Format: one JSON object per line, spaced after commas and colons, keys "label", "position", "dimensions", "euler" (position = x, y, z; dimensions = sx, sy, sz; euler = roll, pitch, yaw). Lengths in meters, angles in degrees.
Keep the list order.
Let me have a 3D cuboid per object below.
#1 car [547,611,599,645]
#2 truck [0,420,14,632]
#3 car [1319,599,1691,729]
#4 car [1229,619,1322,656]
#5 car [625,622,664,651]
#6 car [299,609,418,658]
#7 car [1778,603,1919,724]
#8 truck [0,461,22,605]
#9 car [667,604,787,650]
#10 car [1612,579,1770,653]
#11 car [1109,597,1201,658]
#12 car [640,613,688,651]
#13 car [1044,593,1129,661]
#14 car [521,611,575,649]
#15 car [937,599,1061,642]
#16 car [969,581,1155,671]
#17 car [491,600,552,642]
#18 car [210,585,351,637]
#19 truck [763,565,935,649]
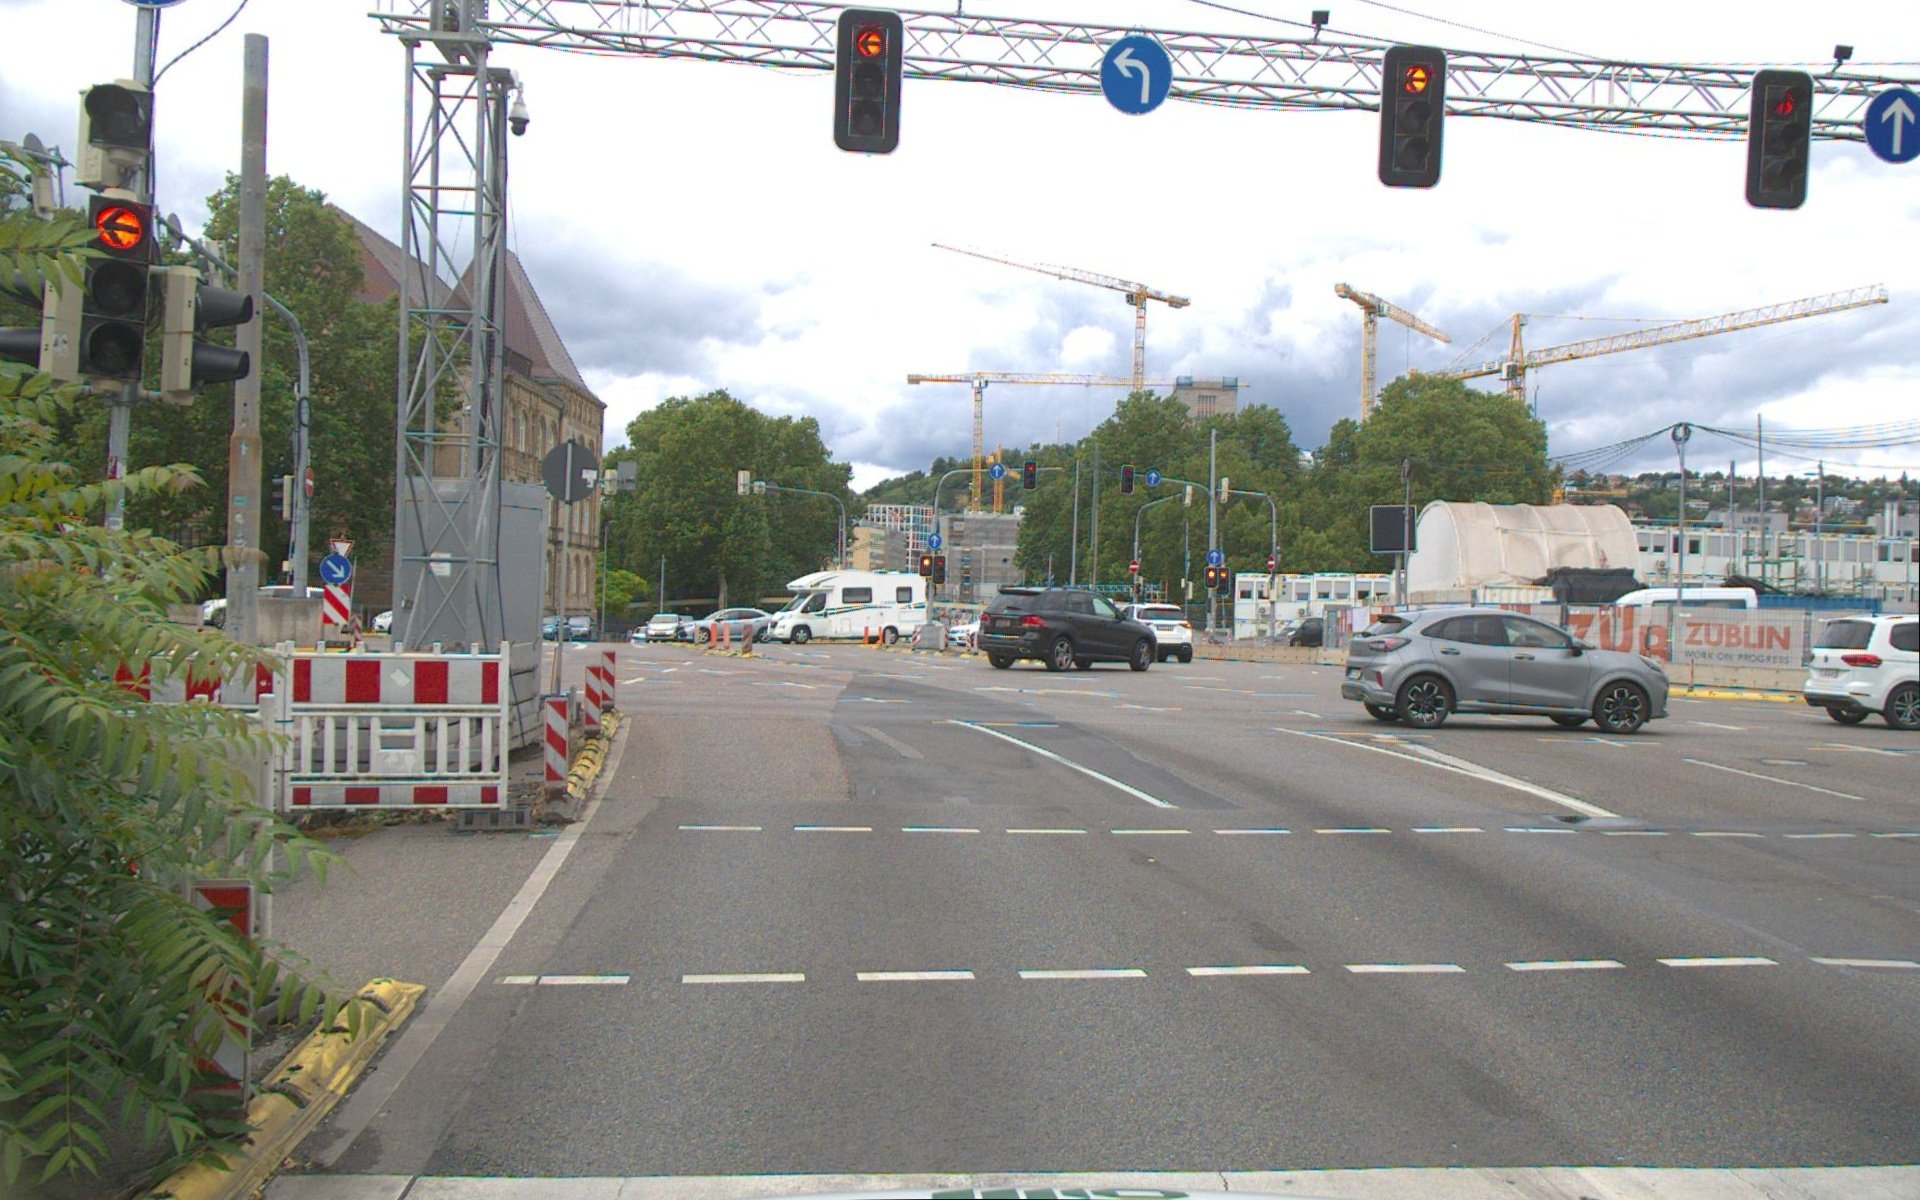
{"label": "car", "position": [-21.854, 1.570, 93.605], "dimensions": [1.952, 1.870, 4.000], "euler": [1, 0, 0]}
{"label": "truck", "position": [-14.587, -1.011, 20.406], "dimensions": [4.120, 2.773, 2.861], "euler": [1, 0, -2]}
{"label": "car", "position": [7.061, 0.805, 21.739], "dimensions": [4.209, 1.567, 1.999], "euler": [1, 0, -3]}
{"label": "car", "position": [15.158, 1.792, 79.394], "dimensions": [3.926, 1.713, 1.989], "euler": [1, 0, -19]}
{"label": "car", "position": [-22.210, 2.554, 116.486], "dimensions": [1.952, 1.870, 4.000], "euler": [1, 0, 0]}
{"label": "car", "position": [-22.682, 1.255, 62.364], "dimensions": [4.093, 1.754, 1.894], "euler": [1, 0, -24]}
{"label": "car", "position": [15.112, 0.948, 24.938], "dimensions": [4.576, 1.732, 1.999], "euler": [1, 0, -2]}
{"label": "truck", "position": [-38.421, -2.434, 57.403], "dimensions": [9.549, 5.047, 3.102], "euler": [1, 0, -14]}
{"label": "car", "position": [-9.584, 1.096, 67.934], "dimensions": [4.508, 1.806, 1.984], "euler": [1, 0, -26]}
{"label": "car", "position": [21.058, 0.449, 47.817], "dimensions": [3.902, 2.049, 2.001], "euler": [1, 0, 15]}
{"label": "car", "position": [6.027, 0.835, 51.586], "dimensions": [1.955, 1.790, 4.500], "euler": [1, 0, -5]}
{"label": "car", "position": [-15.273, 1.649, 85.507], "dimensions": [1.954, 1.870, 3.997], "euler": [1, 0, -3]}
{"label": "car", "position": [3.650, 0.751, 48.386], "dimensions": [1.827, 1.865, 4.718], "euler": [1, 0, -4]}
{"label": "car", "position": [-21.485, 1.547, 86.363], "dimensions": [1.954, 1.870, 3.997], "euler": [1, 0, -3]}
{"label": "car", "position": [1.740, 0.917, 73.723], "dimensions": [5.101, 1.816, 2.149], "euler": [1, 0, -24]}
{"label": "car", "position": [2.303, 0.559, 36.385], "dimensions": [1.963, 1.866, 4.235], "euler": [1, 0, 40]}
{"label": "car", "position": [-20.445, 0.974, 77.289], "dimensions": [1.954, 1.870, 3.997], "euler": [1, 0, -3]}
{"label": "car", "position": [-24.039, 0.391, 58.576], "dimensions": [4.525, 1.754, 1.894], "euler": [1, 0, -25]}
{"label": "truck", "position": [-4.468, 0.308, 66.847], "dimensions": [6.495, 3.201, 2.349], "euler": [1, 0, -24]}
